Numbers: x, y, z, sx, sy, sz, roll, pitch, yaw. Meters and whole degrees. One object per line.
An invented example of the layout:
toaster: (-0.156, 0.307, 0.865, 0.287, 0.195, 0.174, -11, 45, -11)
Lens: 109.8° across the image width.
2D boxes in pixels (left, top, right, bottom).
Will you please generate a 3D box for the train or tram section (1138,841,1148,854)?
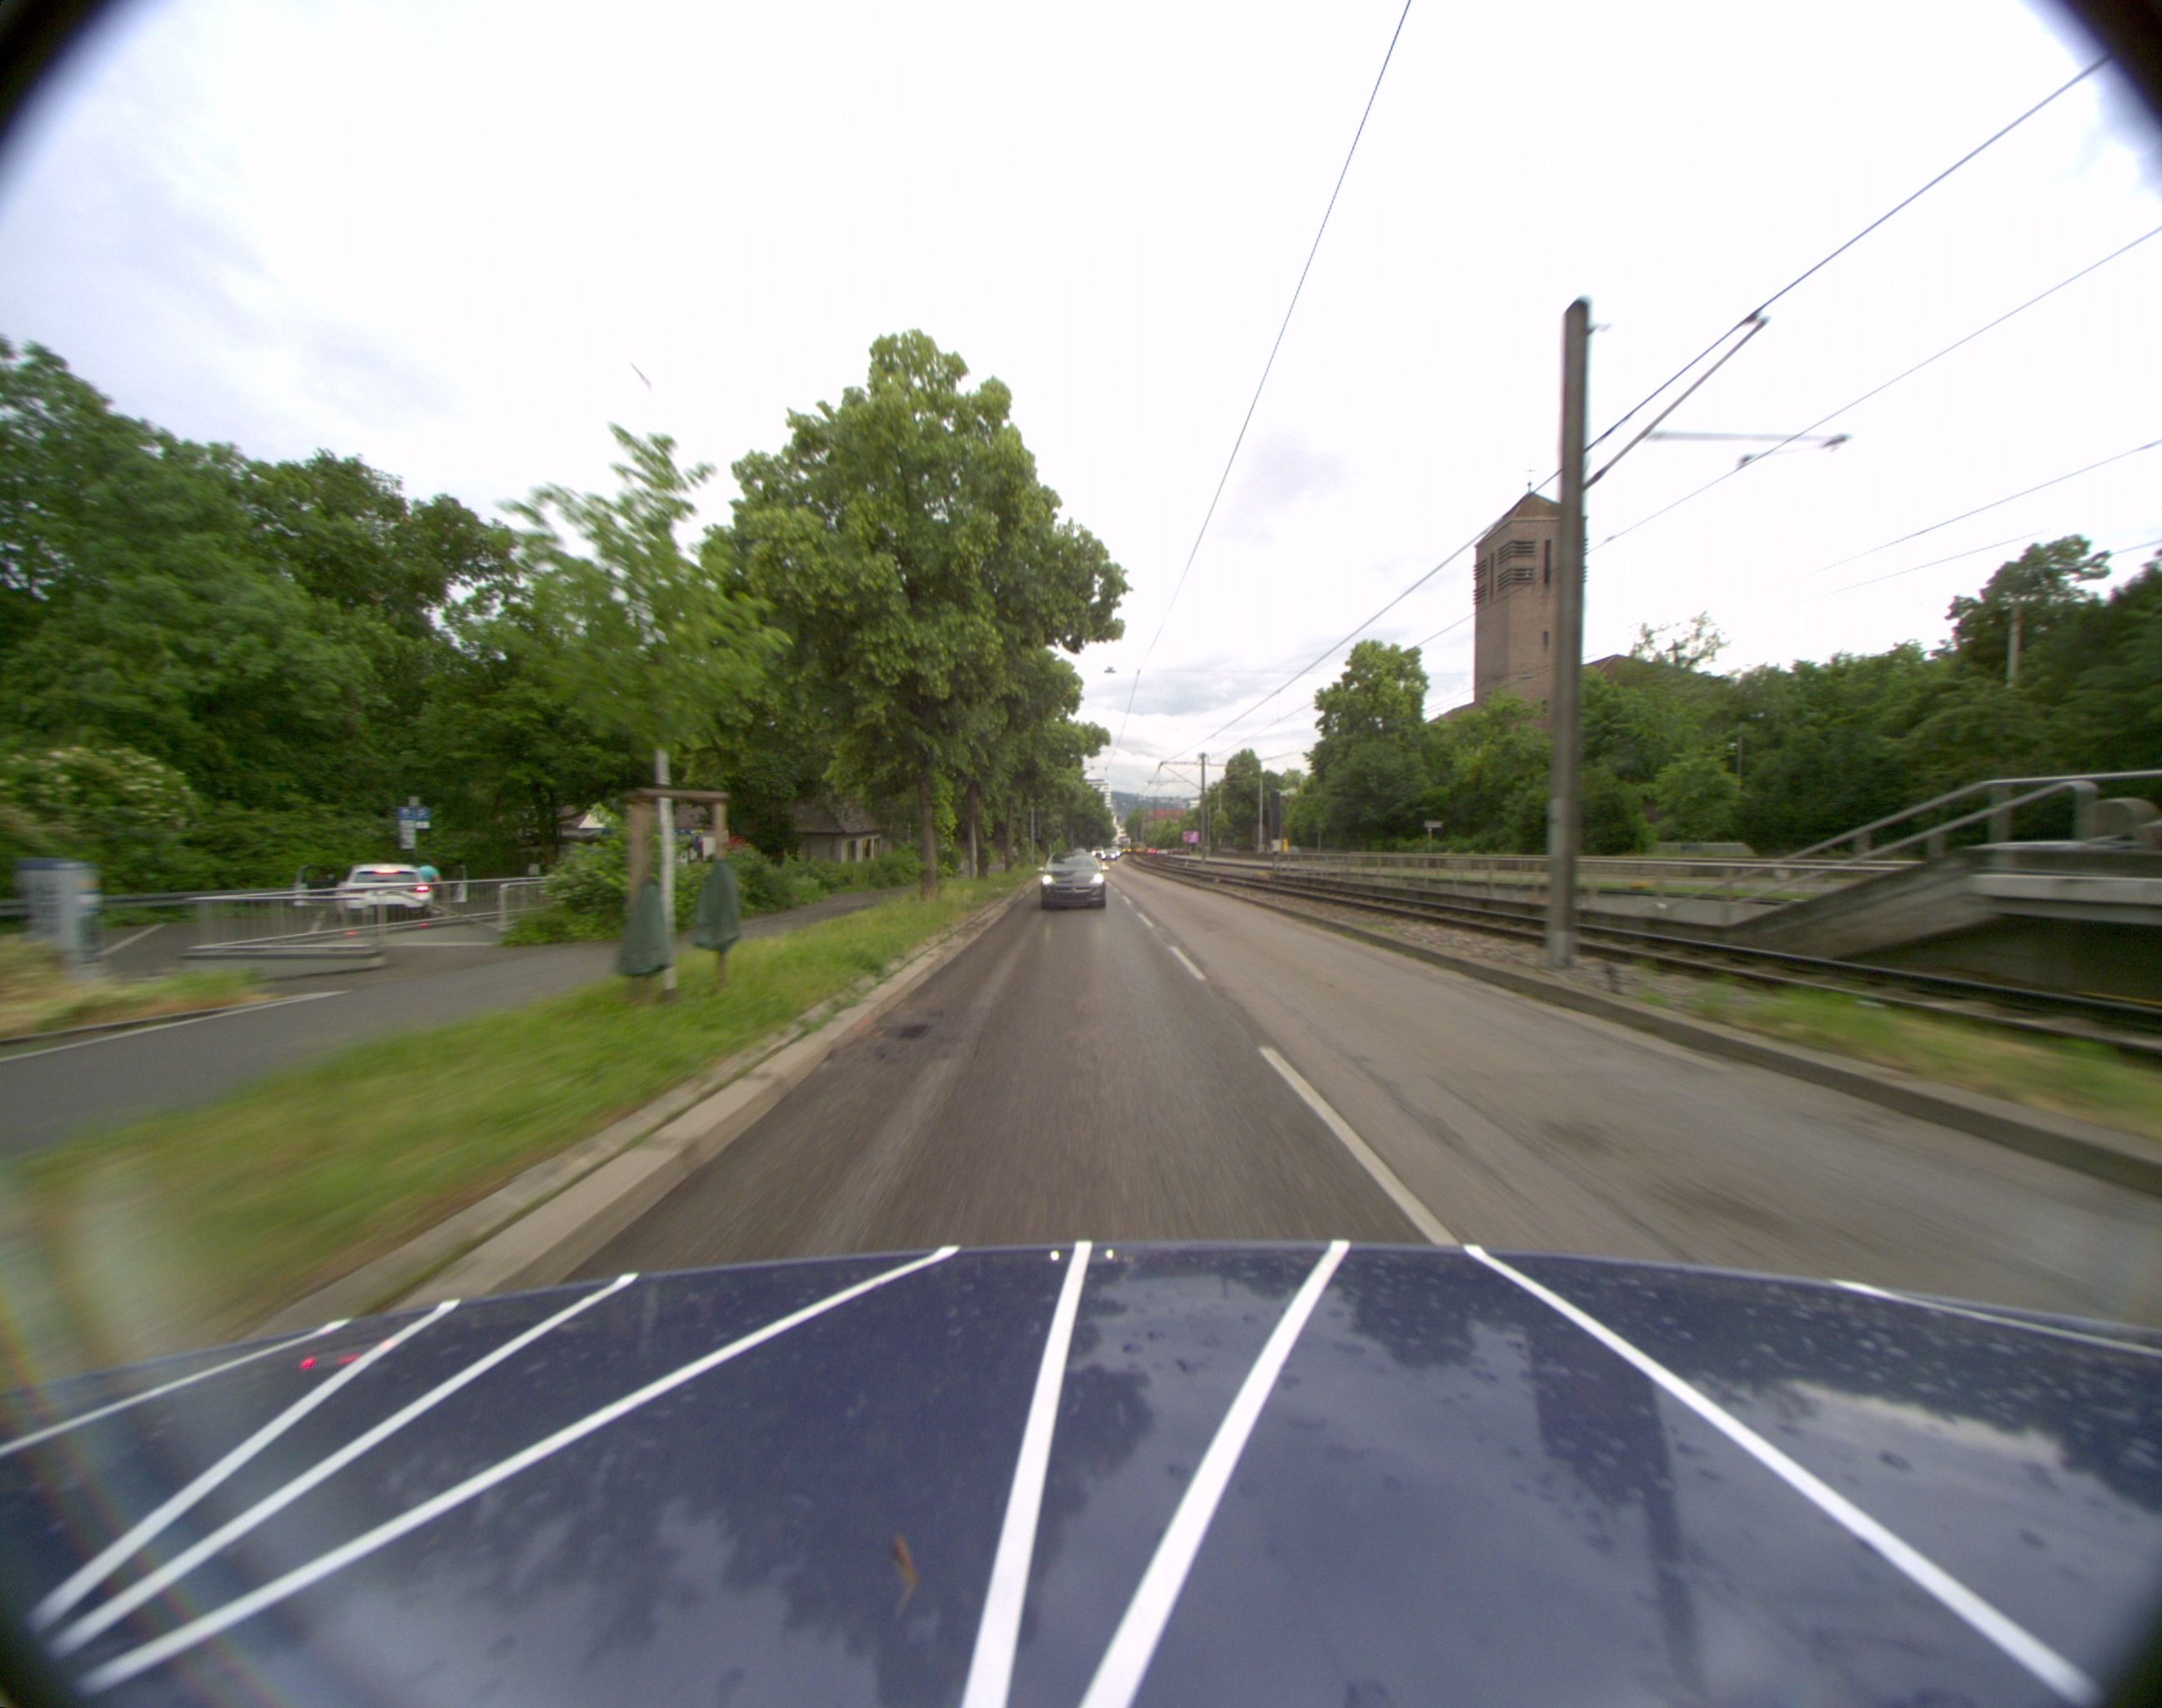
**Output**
train or tram section: (19.394, -2.175, 238.646, 2.835, 3.953, 17.877, -1, 1, 3)

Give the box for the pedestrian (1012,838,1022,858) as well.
pedestrian: (-5.781, -0.533, 68.668, 0.857, 1.843, 0.737, 0, 2, 4)

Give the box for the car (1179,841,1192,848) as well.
car: (21.237, -1.988, 154.141, 1.970, 1.433, 4.320, 0, 1, 0)

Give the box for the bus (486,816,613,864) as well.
bus: (-32.178, -0.880, 46.440, 2.256, 2.685, 7.168, -1, 1, 4)

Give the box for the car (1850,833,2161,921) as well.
car: (20.120, 0.378, 16.555, 1.999, 1.615, 4.515, -1, 1, -3)

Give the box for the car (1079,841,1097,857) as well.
car: (0.687, -0.535, 77.163, 1.769, 1.503, 4.339, -1, 1, 0)

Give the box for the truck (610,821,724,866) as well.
truck: (-28.142, -0.755, 51.974, 2.054, 2.851, 6.618, 0, 2, 32)

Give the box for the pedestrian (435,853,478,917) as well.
pedestrian: (-17.983, 0.860, 21.874, 0.898, 1.761, 0.940, -1, 3, -42)

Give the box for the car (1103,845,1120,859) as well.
car: (3.670, -0.273, 90.835, 1.768, 1.503, 4.342, -1, 1, 6)

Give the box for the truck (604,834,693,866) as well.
truck: (-33.338, -0.327, 58.652, 5.409, 2.168, 2.221, -3, 1, -4)

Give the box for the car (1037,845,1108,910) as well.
car: (-0.185, 0.561, 21.359, 1.746, 1.544, 4.493, -2, 1, 1)

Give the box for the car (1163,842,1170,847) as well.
car: (24.018, -2.688, 213.240, 1.751, 1.459, 3.985, 2, 1, 2)

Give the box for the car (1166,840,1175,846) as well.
car: (23.063, -2.834, 195.748, 1.998, 1.635, 4.411, 1, 1, 2)

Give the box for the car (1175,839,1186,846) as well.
car: (23.600, -2.681, 180.071, 1.998, 1.635, 4.524, 1, 1, 2)

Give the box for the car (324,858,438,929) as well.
car: (-18.726, 0.956, 20.493, 2.004, 1.570, 4.637, -2, 2, -41)
